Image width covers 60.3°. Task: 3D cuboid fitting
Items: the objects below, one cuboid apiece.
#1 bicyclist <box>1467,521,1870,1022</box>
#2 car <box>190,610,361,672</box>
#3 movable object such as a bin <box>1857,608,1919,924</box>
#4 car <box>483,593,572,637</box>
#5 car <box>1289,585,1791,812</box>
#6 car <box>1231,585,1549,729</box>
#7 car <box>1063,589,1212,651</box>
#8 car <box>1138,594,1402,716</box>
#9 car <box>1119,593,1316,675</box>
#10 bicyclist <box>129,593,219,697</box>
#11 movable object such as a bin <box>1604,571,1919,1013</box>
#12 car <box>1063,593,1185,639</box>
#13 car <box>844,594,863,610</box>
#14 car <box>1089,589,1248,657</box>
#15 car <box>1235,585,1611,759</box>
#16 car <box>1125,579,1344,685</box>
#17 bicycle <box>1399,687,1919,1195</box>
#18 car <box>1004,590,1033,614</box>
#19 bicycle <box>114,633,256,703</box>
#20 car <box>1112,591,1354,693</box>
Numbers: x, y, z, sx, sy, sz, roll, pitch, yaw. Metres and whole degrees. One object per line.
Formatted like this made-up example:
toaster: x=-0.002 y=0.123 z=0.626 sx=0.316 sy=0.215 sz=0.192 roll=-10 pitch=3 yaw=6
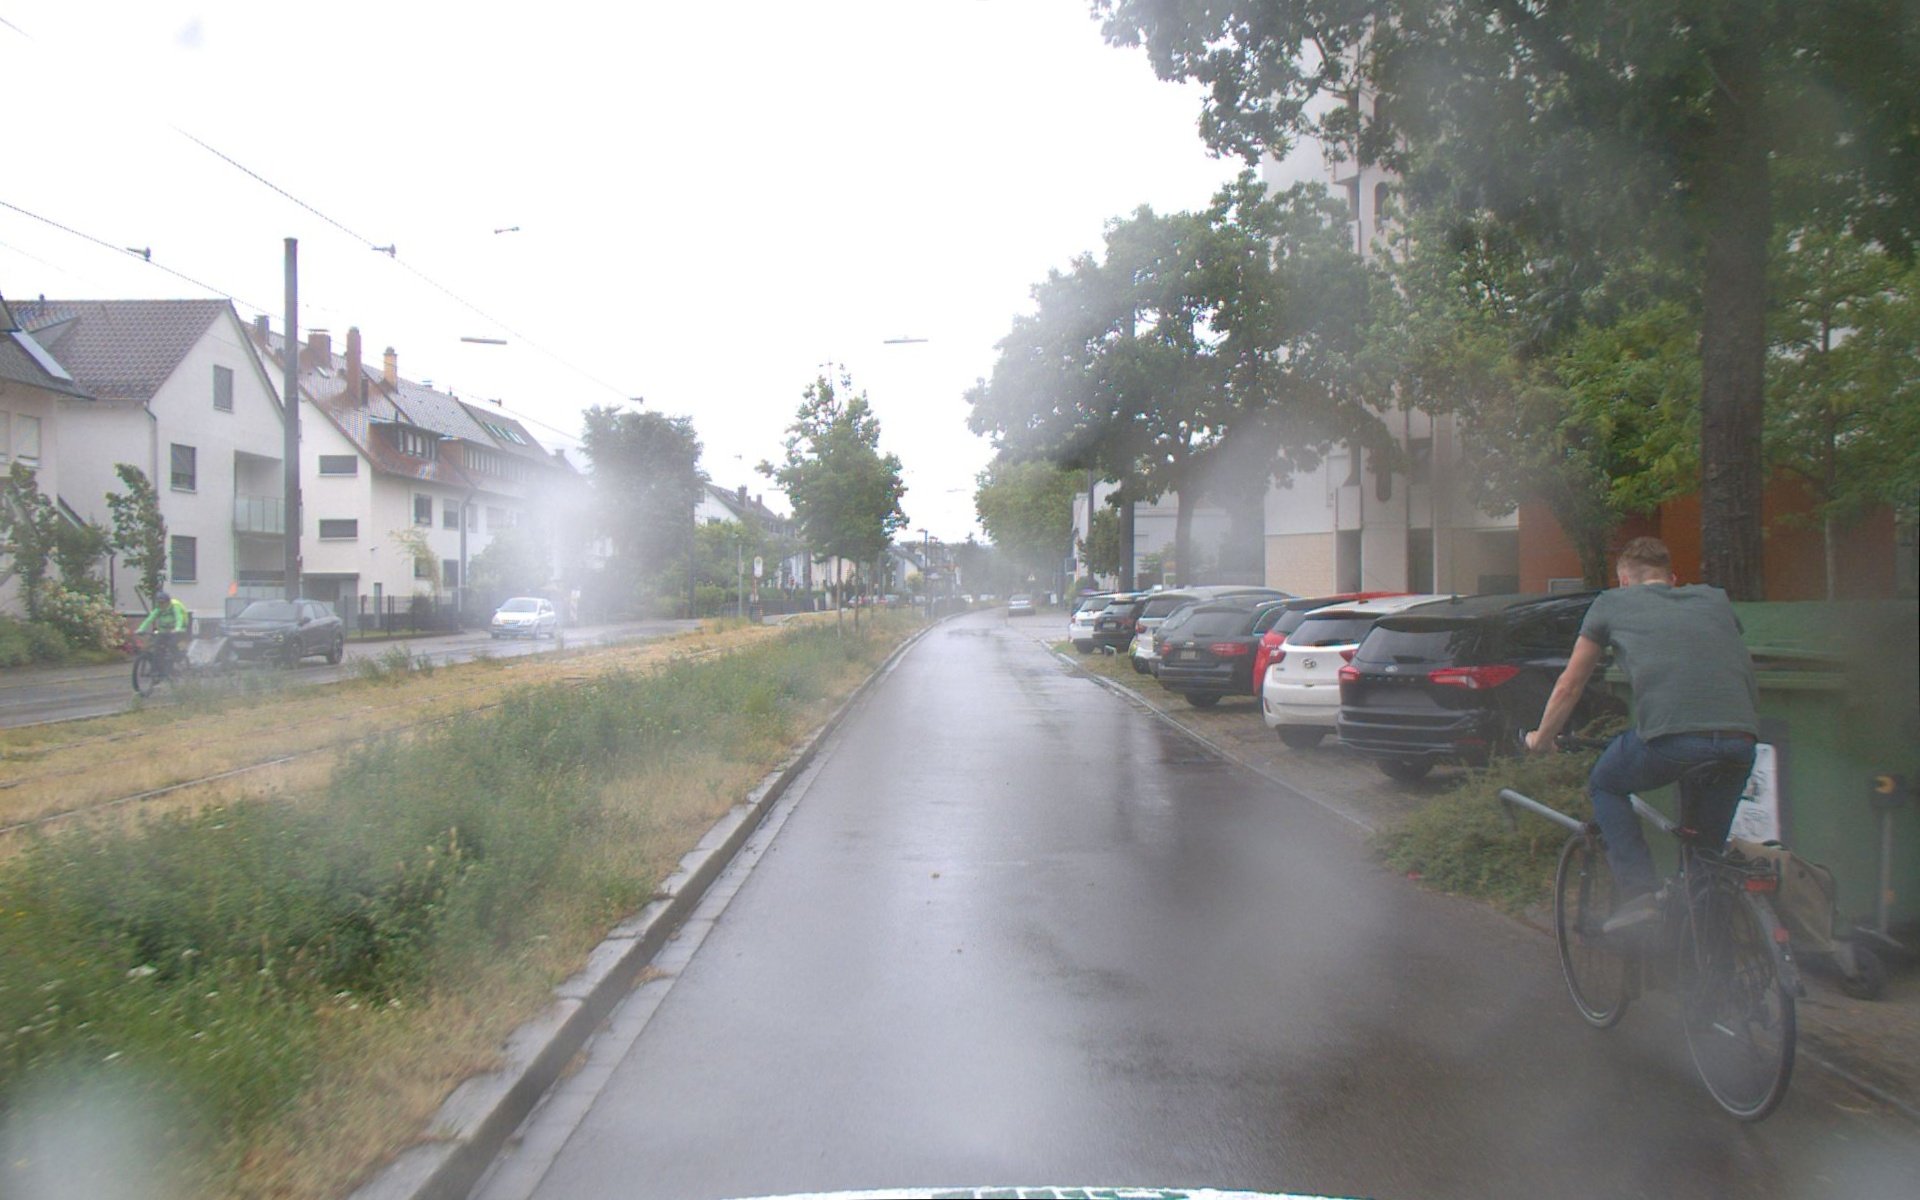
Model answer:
bicyclist: x=2.258 y=0.500 z=5.412 sx=0.793 sy=1.458 sz=1.059 roll=-1 pitch=0 yaw=-4
car: x=-15.718 y=0.903 z=38.272 sx=1.857 sy=1.266 sz=4.688 roll=2 pitch=0 yaw=2
movable object such as a bin: x=5.064 y=0.687 z=7.087 sx=1.658 sy=1.349 sz=1.391 roll=-3 pitch=1 yaw=-22
car: x=-15.770 y=0.527 z=60.531 sx=1.857 sy=1.495 sz=4.689 roll=-1 pitch=0 yaw=2
car: x=4.837 y=0.684 z=13.590 sx=4.180 sy=1.545 sz=1.854 roll=-1 pitch=0 yaw=-36
car: x=5.270 y=0.624 z=20.079 sx=3.995 sy=1.545 sz=1.565 roll=-1 pitch=0 yaw=-36
car: x=4.740 y=0.512 z=43.947 sx=3.999 sy=1.539 sz=1.564 roll=-1 pitch=0 yaw=-38
car: x=4.295 y=0.679 z=22.552 sx=1.559 sy=1.468 sz=4.012 roll=-1 pitch=0 yaw=45
car: x=5.143 y=0.632 z=32.755 sx=3.999 sy=1.471 sz=1.564 roll=-1 pitch=0 yaw=-38
bicyclist: x=-13.354 y=0.749 z=28.133 sx=0.998 sy=1.715 sz=1.091 roll=-1 pitch=0 yaw=-1
movable object such as a bin: x=3.615 y=0.676 z=6.738 sx=1.110 sy=1.482 sz=1.392 roll=-7 pitch=2 yaw=-22
car: x=5.384 y=0.510 z=53.987 sx=3.999 sy=1.393 sz=1.564 roll=-1 pitch=0 yaw=-38
car: x=-11.523 y=0.220 z=179.479 sx=1.805 sy=1.701 sz=3.999 roll=-1 pitch=0 yaw=-1
car: x=5.204 y=0.540 z=41.050 sx=3.999 sy=1.568 sz=1.564 roll=-1 pitch=0 yaw=-38
car: x=4.798 y=0.653 z=16.930 sx=3.995 sy=1.545 sz=1.565 roll=-1 pitch=0 yaw=-36
car: x=4.932 y=0.519 z=29.430 sx=3.999 sy=1.733 sz=1.564 roll=-1 pitch=0 yaw=-38
bicycle: x=2.256 y=0.925 z=5.444 sx=0.793 sy=1.116 sz=2.515 roll=-1 pitch=0 yaw=-4
car: x=4.014 y=0.124 z=114.024 sx=1.796 sy=1.614 sz=3.999 roll=-1 pitch=0 yaw=-1
bicycle: x=-13.381 y=1.146 z=28.709 sx=0.997 sy=1.045 sz=3.196 roll=-1 pitch=0 yaw=-1
car: x=4.435 y=0.625 z=26.621 sx=3.999 sy=1.468 sz=1.564 roll=-1 pitch=0 yaw=-38
